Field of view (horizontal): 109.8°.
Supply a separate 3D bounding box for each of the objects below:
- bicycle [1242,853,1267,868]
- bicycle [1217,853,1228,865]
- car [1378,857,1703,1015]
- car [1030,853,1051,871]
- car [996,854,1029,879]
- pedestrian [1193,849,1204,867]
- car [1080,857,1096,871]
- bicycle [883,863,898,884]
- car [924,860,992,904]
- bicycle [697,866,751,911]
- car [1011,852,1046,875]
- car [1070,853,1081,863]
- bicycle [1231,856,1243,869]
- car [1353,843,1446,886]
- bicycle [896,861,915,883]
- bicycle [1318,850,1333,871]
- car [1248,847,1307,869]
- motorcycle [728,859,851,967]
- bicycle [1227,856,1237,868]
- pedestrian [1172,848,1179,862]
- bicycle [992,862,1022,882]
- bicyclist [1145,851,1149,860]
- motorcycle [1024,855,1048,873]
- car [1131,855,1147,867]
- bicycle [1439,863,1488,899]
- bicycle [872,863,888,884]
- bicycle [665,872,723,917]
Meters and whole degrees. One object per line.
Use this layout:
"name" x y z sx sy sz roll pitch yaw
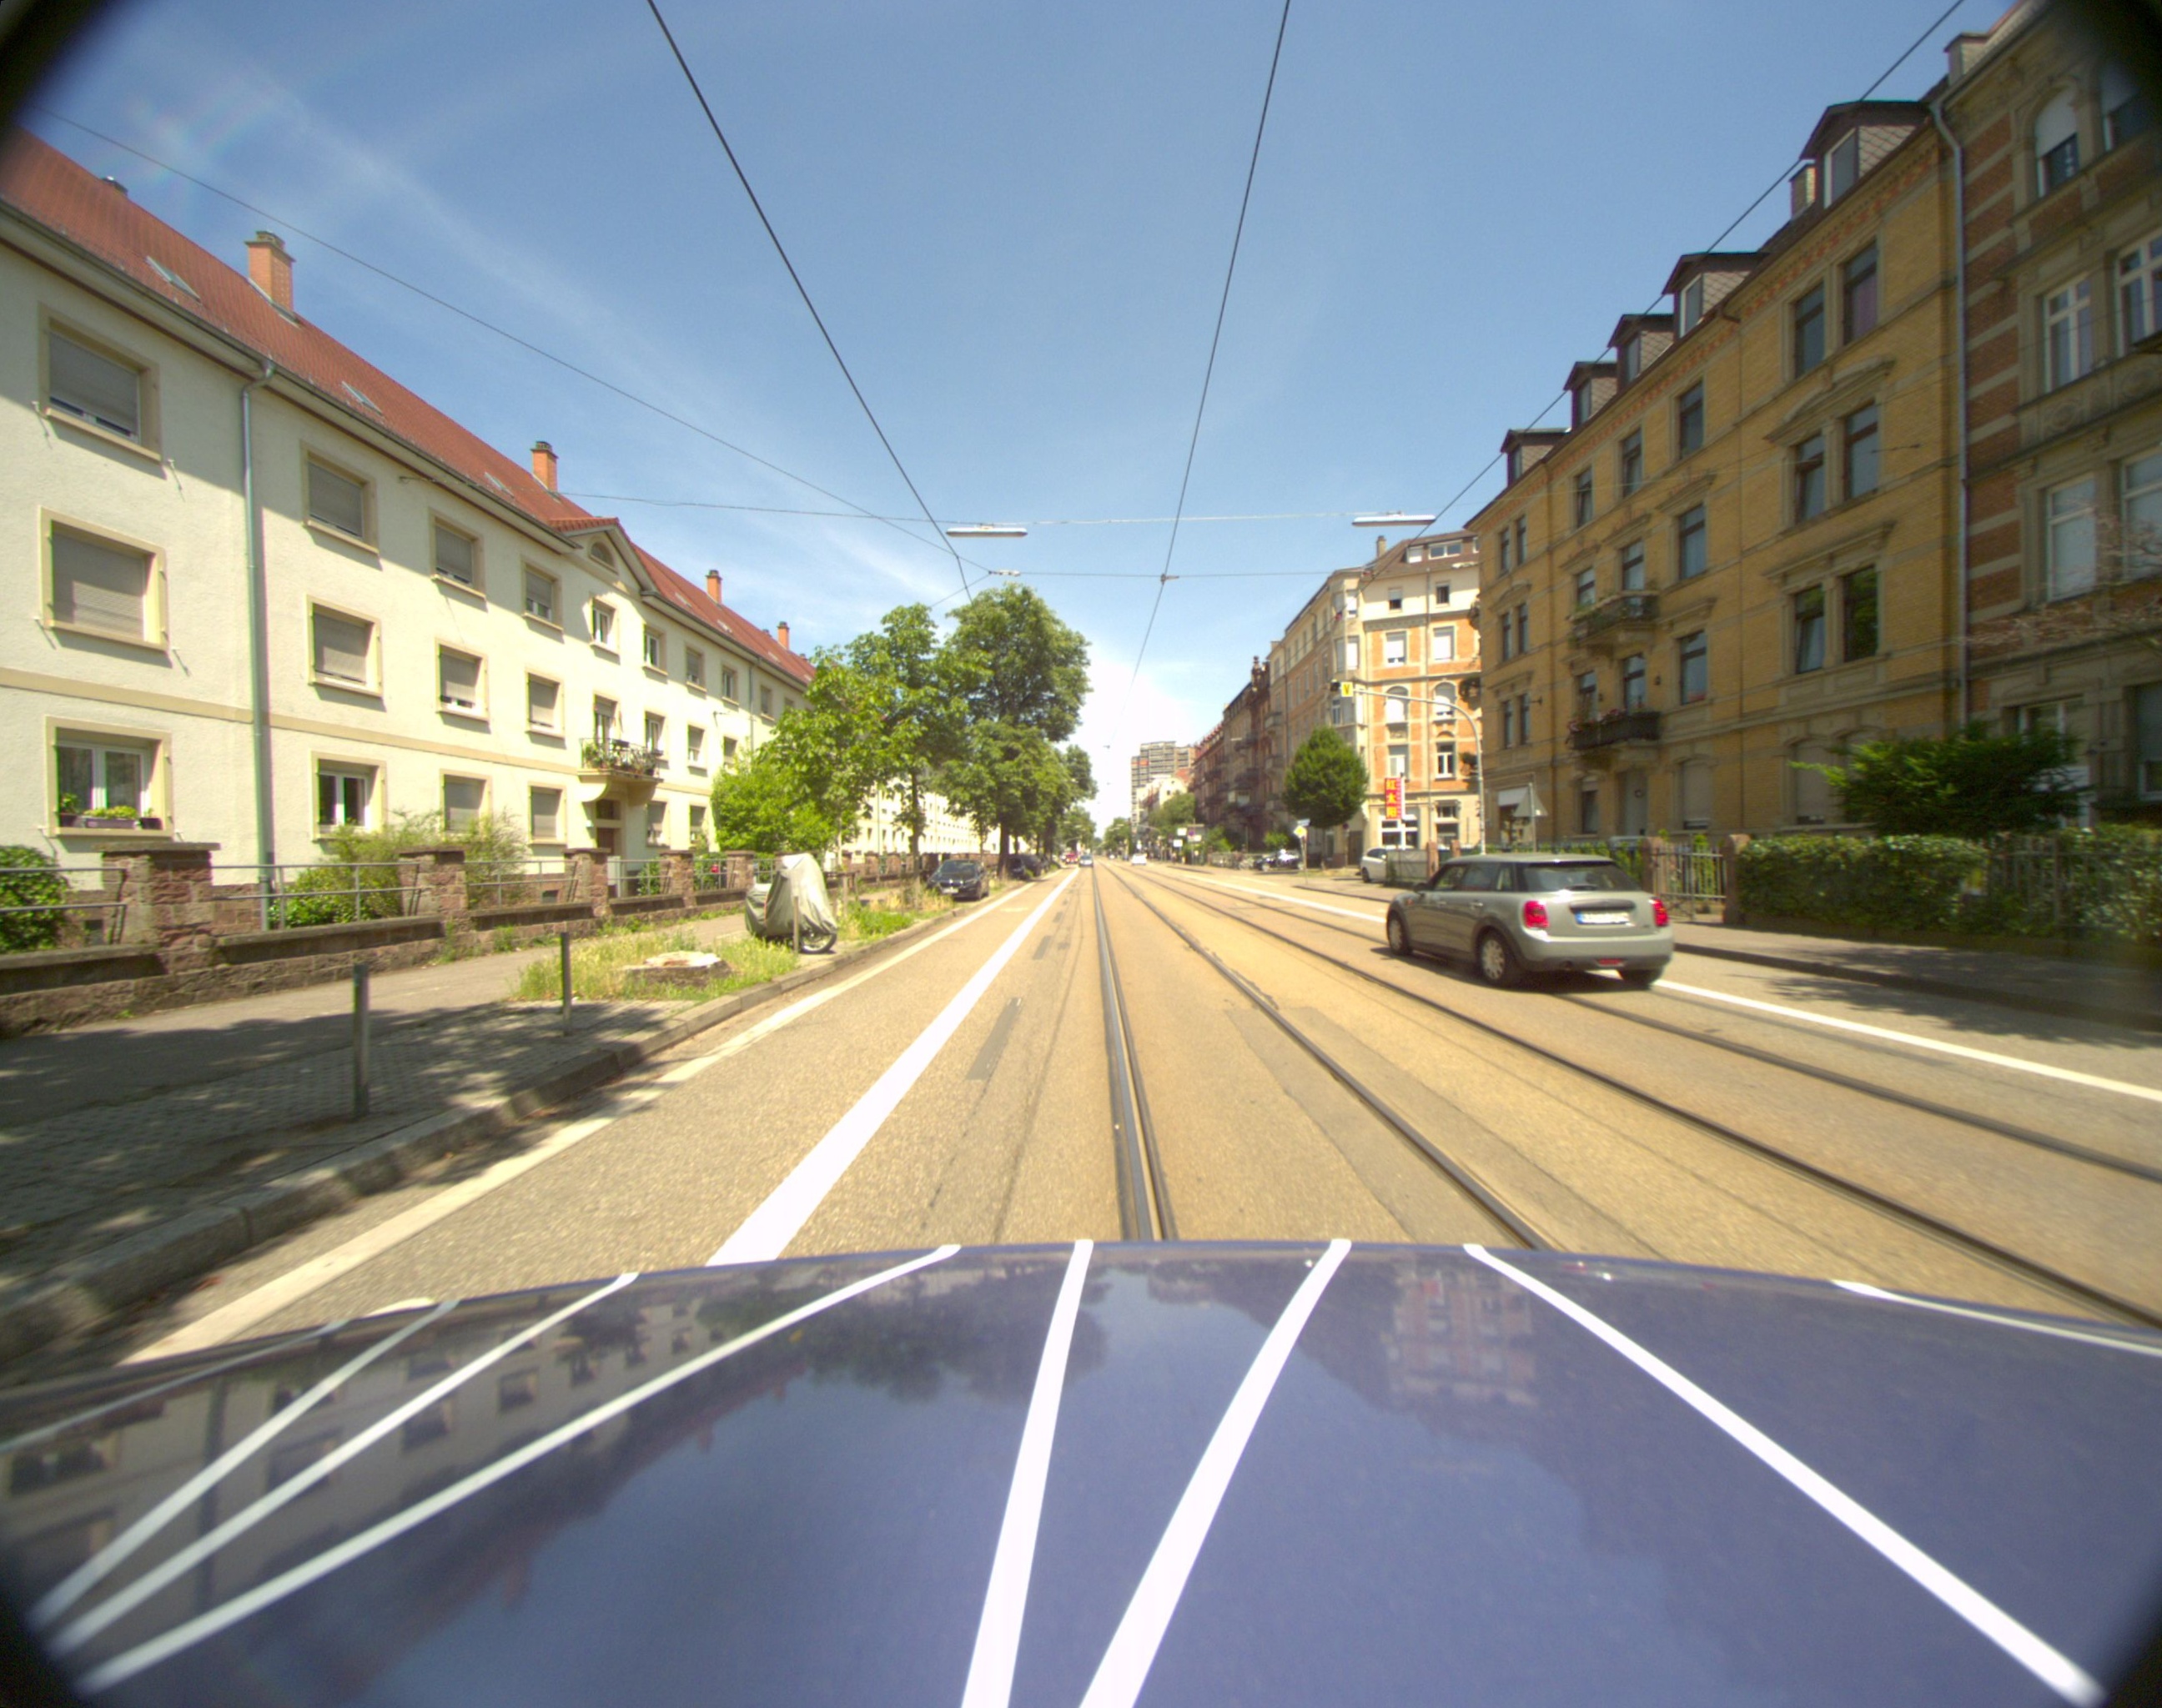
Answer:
"bicycle" 12.862 0.487 56.378 1.709 1.031 0.551 -2 1 5
"bicycle" 12.063 0.426 64.976 0.498 0.981 1.710 -5 0 -1
"car" 5.185 0.802 9.230 1.690 1.446 3.748 -2 0 1
"car" -3.570 0.691 67.691 1.737 1.543 4.453 -1 0 -1
"car" -4.160 0.757 46.795 1.699 1.410 4.356 -1 0 -2
"pedestrian" 12.031 0.400 77.530 0.853 1.713 1.138 -4 1 1
"car" 0.747 1.169 89.349 1.737 1.543 4.423 -1 0 -1
"bicycle" -10.193 1.013 40.693 0.480 1.072 1.923 -1 0 -5
"car" -4.346 0.940 27.508 1.774 1.418 4.861 -1 0 -2
"bicycle" -9.585 0.905 20.476 0.500 1.096 1.807 -1 0 3
"car" -3.860 0.676 56.772 1.952 1.641 4.881 -1 0 4
"car" -0.948 0.635 124.882 1.737 1.543 4.423 -1 0 -1
"bicycle" 11.861 0.619 57.794 0.440 0.978 1.710 -2 0 -1
"car" 13.199 0.386 31.730 1.871 1.591 4.100 -3 0 -4
"bicycle" -9.353 0.942 40.544 0.480 1.072 1.924 -1 0 0
"bicycle" 15.320 0.402 47.543 0.500 1.221 1.853 0 3 29
"car" 14.034 0.297 54.366 3.769 1.420 1.713 -2 1 1
"motorcycle" -4.654 0.876 12.033 2.314 1.531 0.871 -1 1 44
"bicycle" 11.903 0.628 59.835 0.440 0.978 1.710 -2 0 -1
"pedestrian" 11.529 0.090 92.567 0.873 1.690 1.014 -1 1 7
"bicycle" -4.110 1.008 42.223 1.658 1.072 0.606 -1 1 -6
"bicyclist" 10.916 0.299 126.544 0.594 1.535 0.952 0 1 0
"motorcycle" -3.814 0.865 63.848 1.919 1.425 0.671 -2 1 -8
"car" 7.391 0.898 96.750 1.760 1.416 4.000 -1 0 1
"bicycle" 11.388 0.776 22.694 0.455 0.997 1.806 -2 0 -3
"bicycle" -10.724 1.019 40.652 0.480 1.072 1.923 -1 0 -5
"bicycle" -10.272 1.061 20.216 0.500 1.096 1.807 -1 0 3
